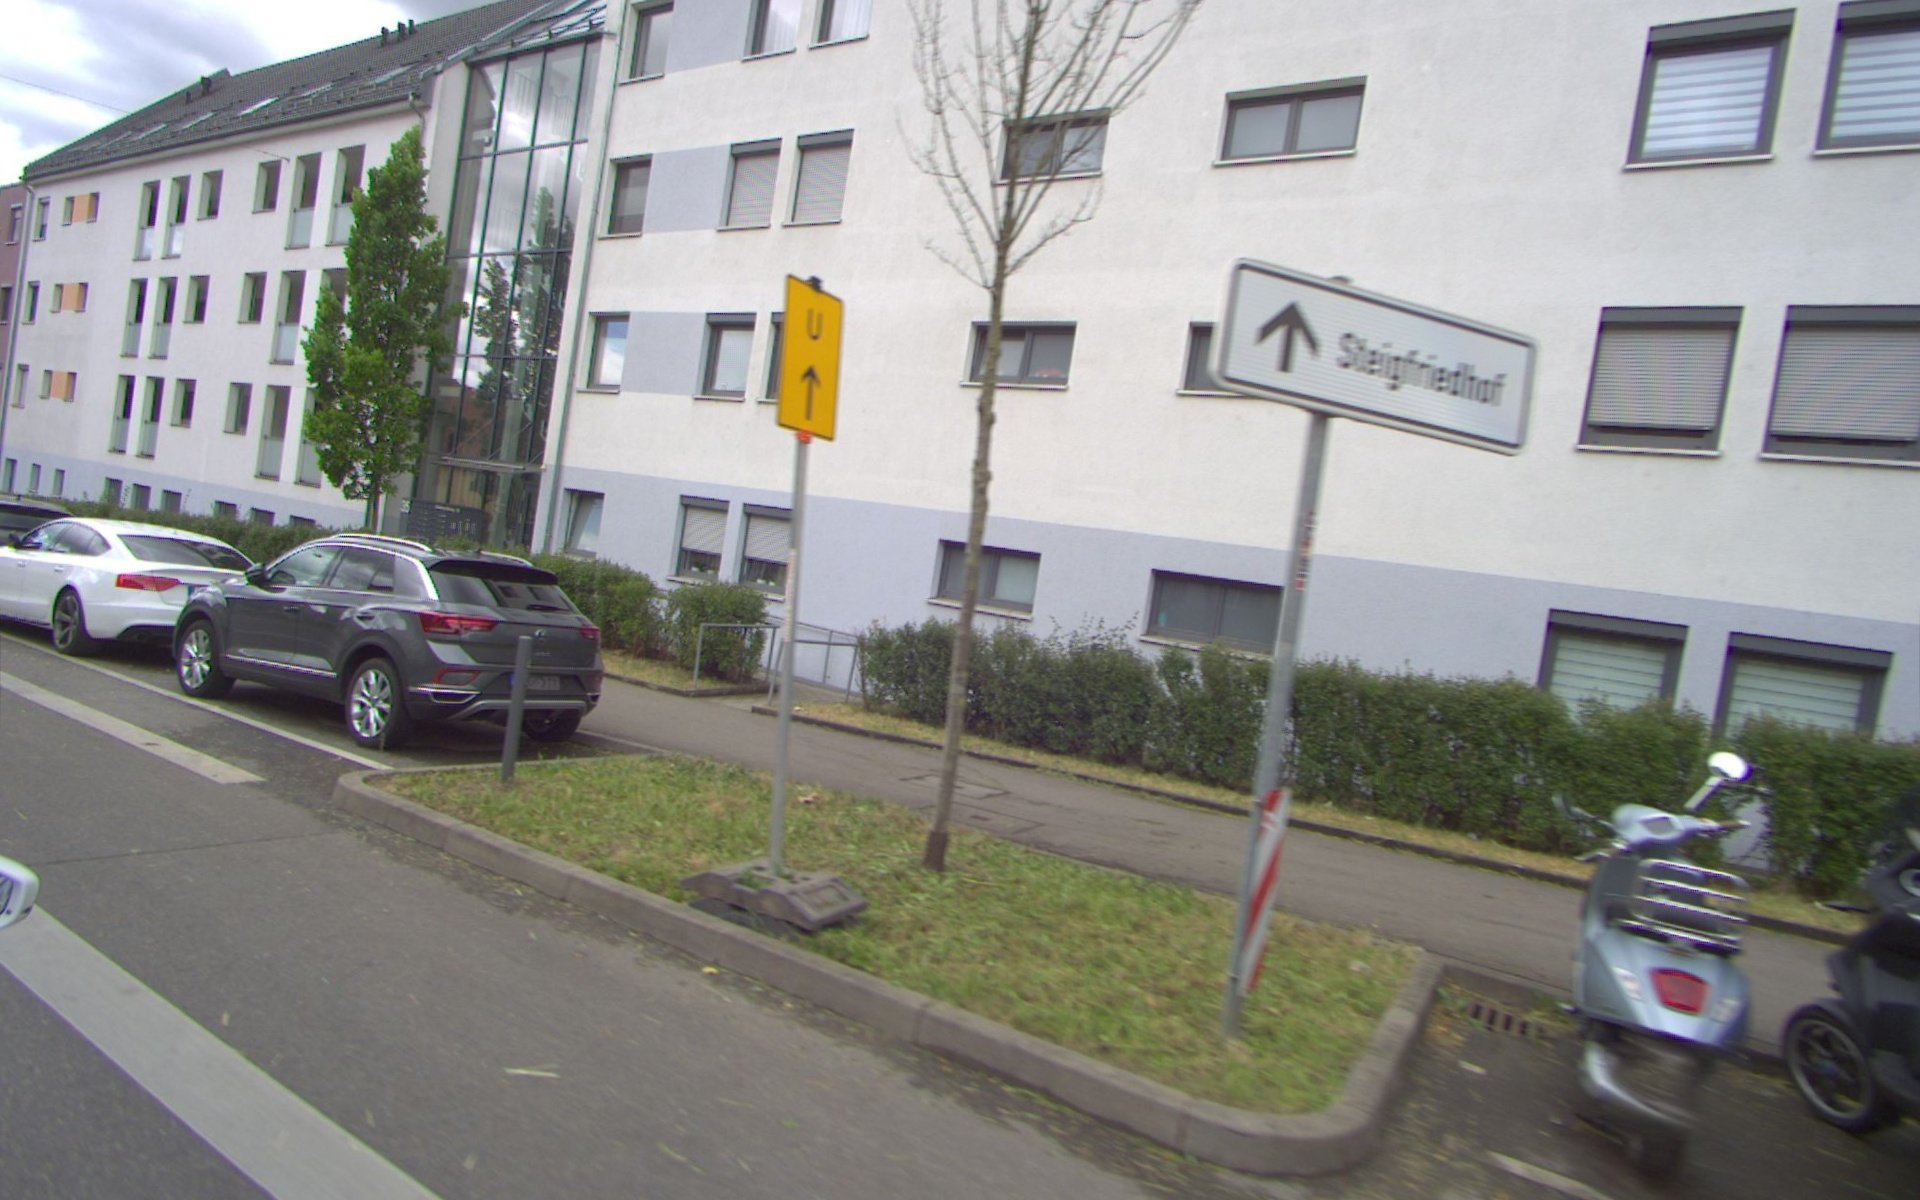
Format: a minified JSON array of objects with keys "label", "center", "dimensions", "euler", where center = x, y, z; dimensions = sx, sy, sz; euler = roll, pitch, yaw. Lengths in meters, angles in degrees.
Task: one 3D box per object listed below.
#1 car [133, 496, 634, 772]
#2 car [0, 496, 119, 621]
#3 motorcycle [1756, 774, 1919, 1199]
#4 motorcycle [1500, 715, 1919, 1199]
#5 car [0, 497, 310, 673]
[{"label":"car","center":[-5.112,0.214,8.794],"dimensions":[4.280,1.669,1.636],"euler":[8,-1,28]},{"label":"car","center":[-14.251,-0.810,14.387],"dimensions":[4.865,1.484,1.750],"euler":[7,-2,30]},{"label":"motorcycle","center":[3.432,1.372,3.227],"dimensions":[0.740,1.294,2.604],"euler":[8,-1,27]},{"label":"motorcycle","center":[2.529,1.214,3.755],"dimensions":[0.680,1.397,2.604],"euler":[8,-1,27]},{"label":"car","center":[-9.546,-0.243,11.402],"dimensions":[4.423,1.430,1.734],"euler":[7,-2,30]}]
